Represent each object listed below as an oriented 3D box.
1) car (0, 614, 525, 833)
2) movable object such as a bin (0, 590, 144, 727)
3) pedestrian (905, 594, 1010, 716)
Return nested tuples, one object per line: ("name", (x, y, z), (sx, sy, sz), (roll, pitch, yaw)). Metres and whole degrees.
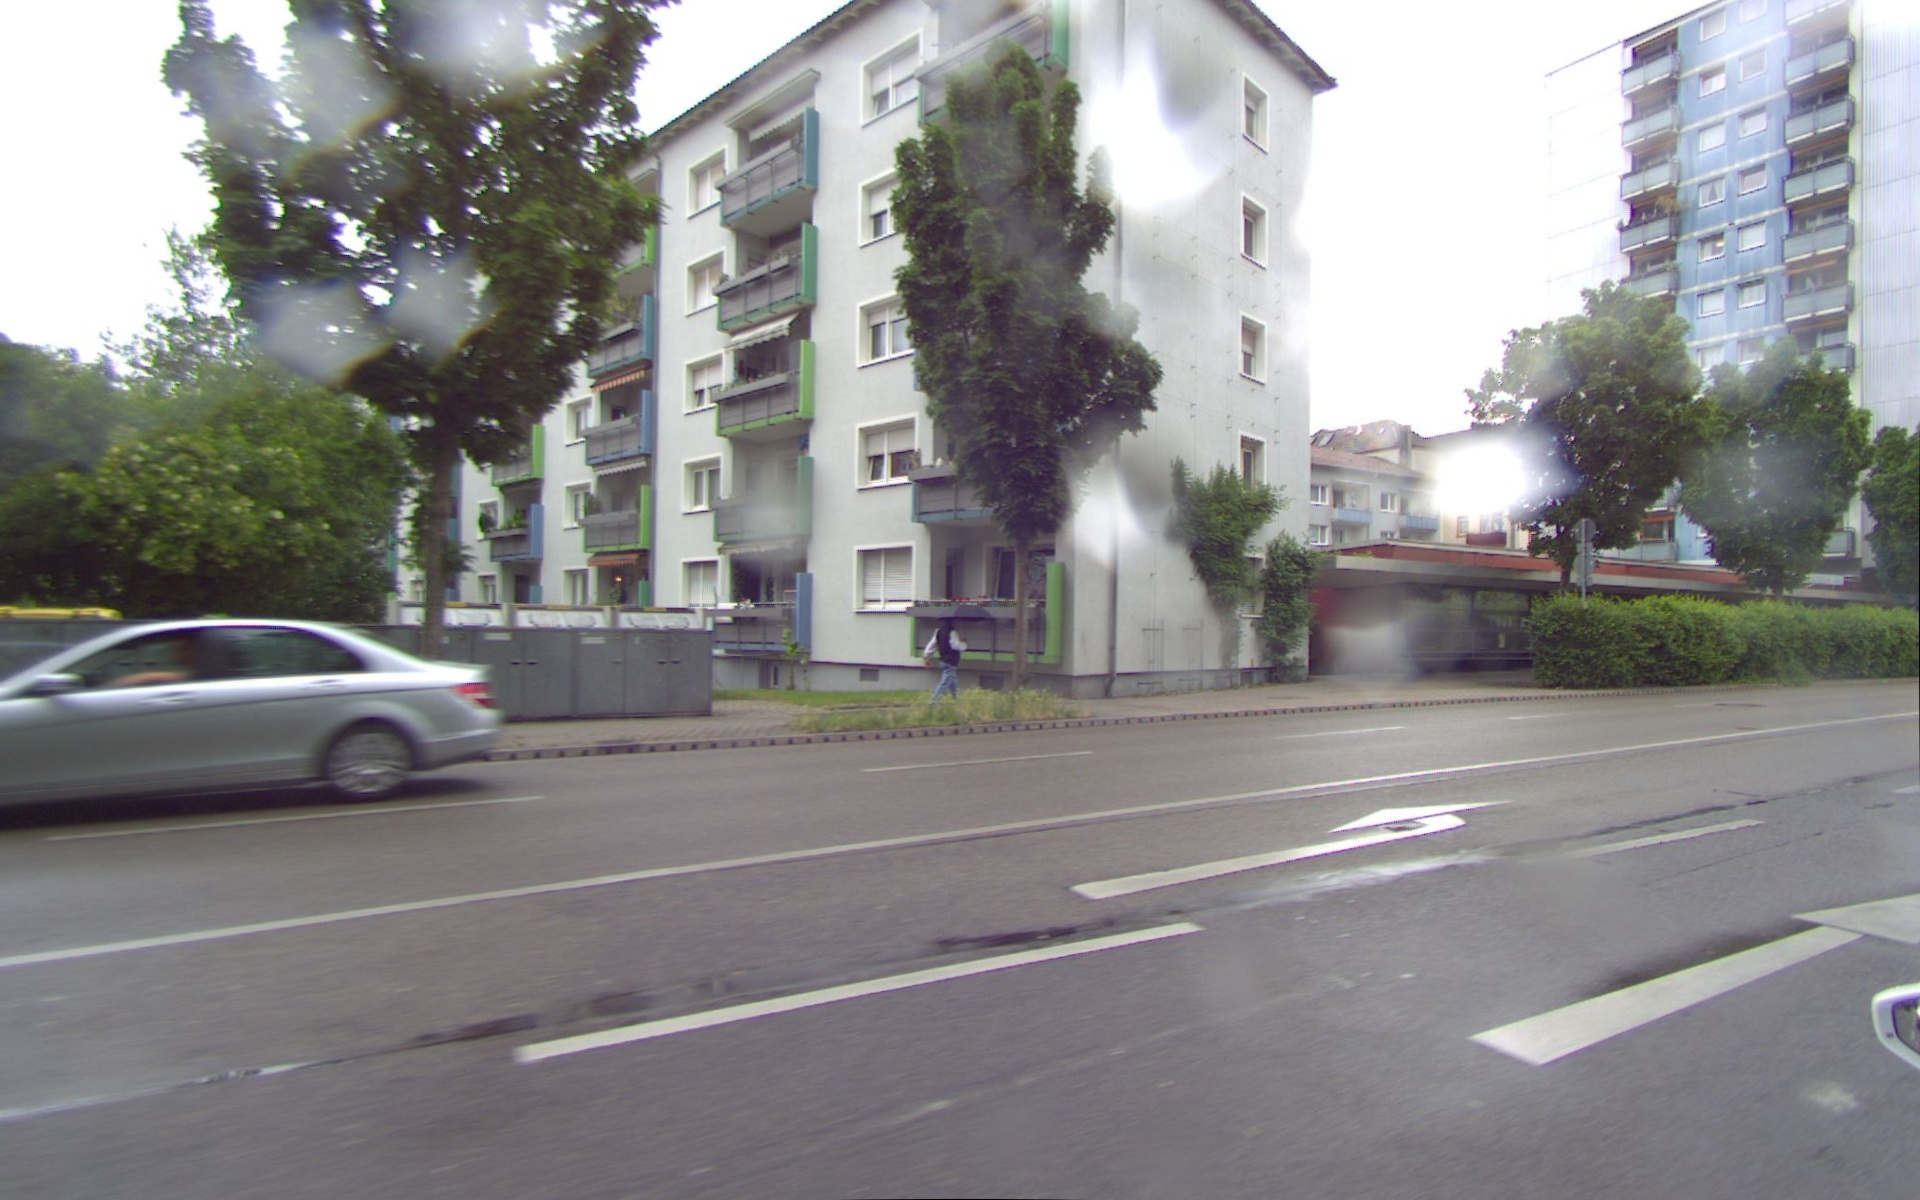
("car", (-5.987, 0.856, 7.752), (4.580, 1.408, 1.862), (1, -3, -35))
("movable object such as a bin", (-10.808, 0.652, 11.597), (2.068, 1.504, 1.206), (1, -2, -37))
("pedestrian", (-0.041, 0.846, 15.894), (1.250, 1.828, 1.127), (1, -1, -34))
